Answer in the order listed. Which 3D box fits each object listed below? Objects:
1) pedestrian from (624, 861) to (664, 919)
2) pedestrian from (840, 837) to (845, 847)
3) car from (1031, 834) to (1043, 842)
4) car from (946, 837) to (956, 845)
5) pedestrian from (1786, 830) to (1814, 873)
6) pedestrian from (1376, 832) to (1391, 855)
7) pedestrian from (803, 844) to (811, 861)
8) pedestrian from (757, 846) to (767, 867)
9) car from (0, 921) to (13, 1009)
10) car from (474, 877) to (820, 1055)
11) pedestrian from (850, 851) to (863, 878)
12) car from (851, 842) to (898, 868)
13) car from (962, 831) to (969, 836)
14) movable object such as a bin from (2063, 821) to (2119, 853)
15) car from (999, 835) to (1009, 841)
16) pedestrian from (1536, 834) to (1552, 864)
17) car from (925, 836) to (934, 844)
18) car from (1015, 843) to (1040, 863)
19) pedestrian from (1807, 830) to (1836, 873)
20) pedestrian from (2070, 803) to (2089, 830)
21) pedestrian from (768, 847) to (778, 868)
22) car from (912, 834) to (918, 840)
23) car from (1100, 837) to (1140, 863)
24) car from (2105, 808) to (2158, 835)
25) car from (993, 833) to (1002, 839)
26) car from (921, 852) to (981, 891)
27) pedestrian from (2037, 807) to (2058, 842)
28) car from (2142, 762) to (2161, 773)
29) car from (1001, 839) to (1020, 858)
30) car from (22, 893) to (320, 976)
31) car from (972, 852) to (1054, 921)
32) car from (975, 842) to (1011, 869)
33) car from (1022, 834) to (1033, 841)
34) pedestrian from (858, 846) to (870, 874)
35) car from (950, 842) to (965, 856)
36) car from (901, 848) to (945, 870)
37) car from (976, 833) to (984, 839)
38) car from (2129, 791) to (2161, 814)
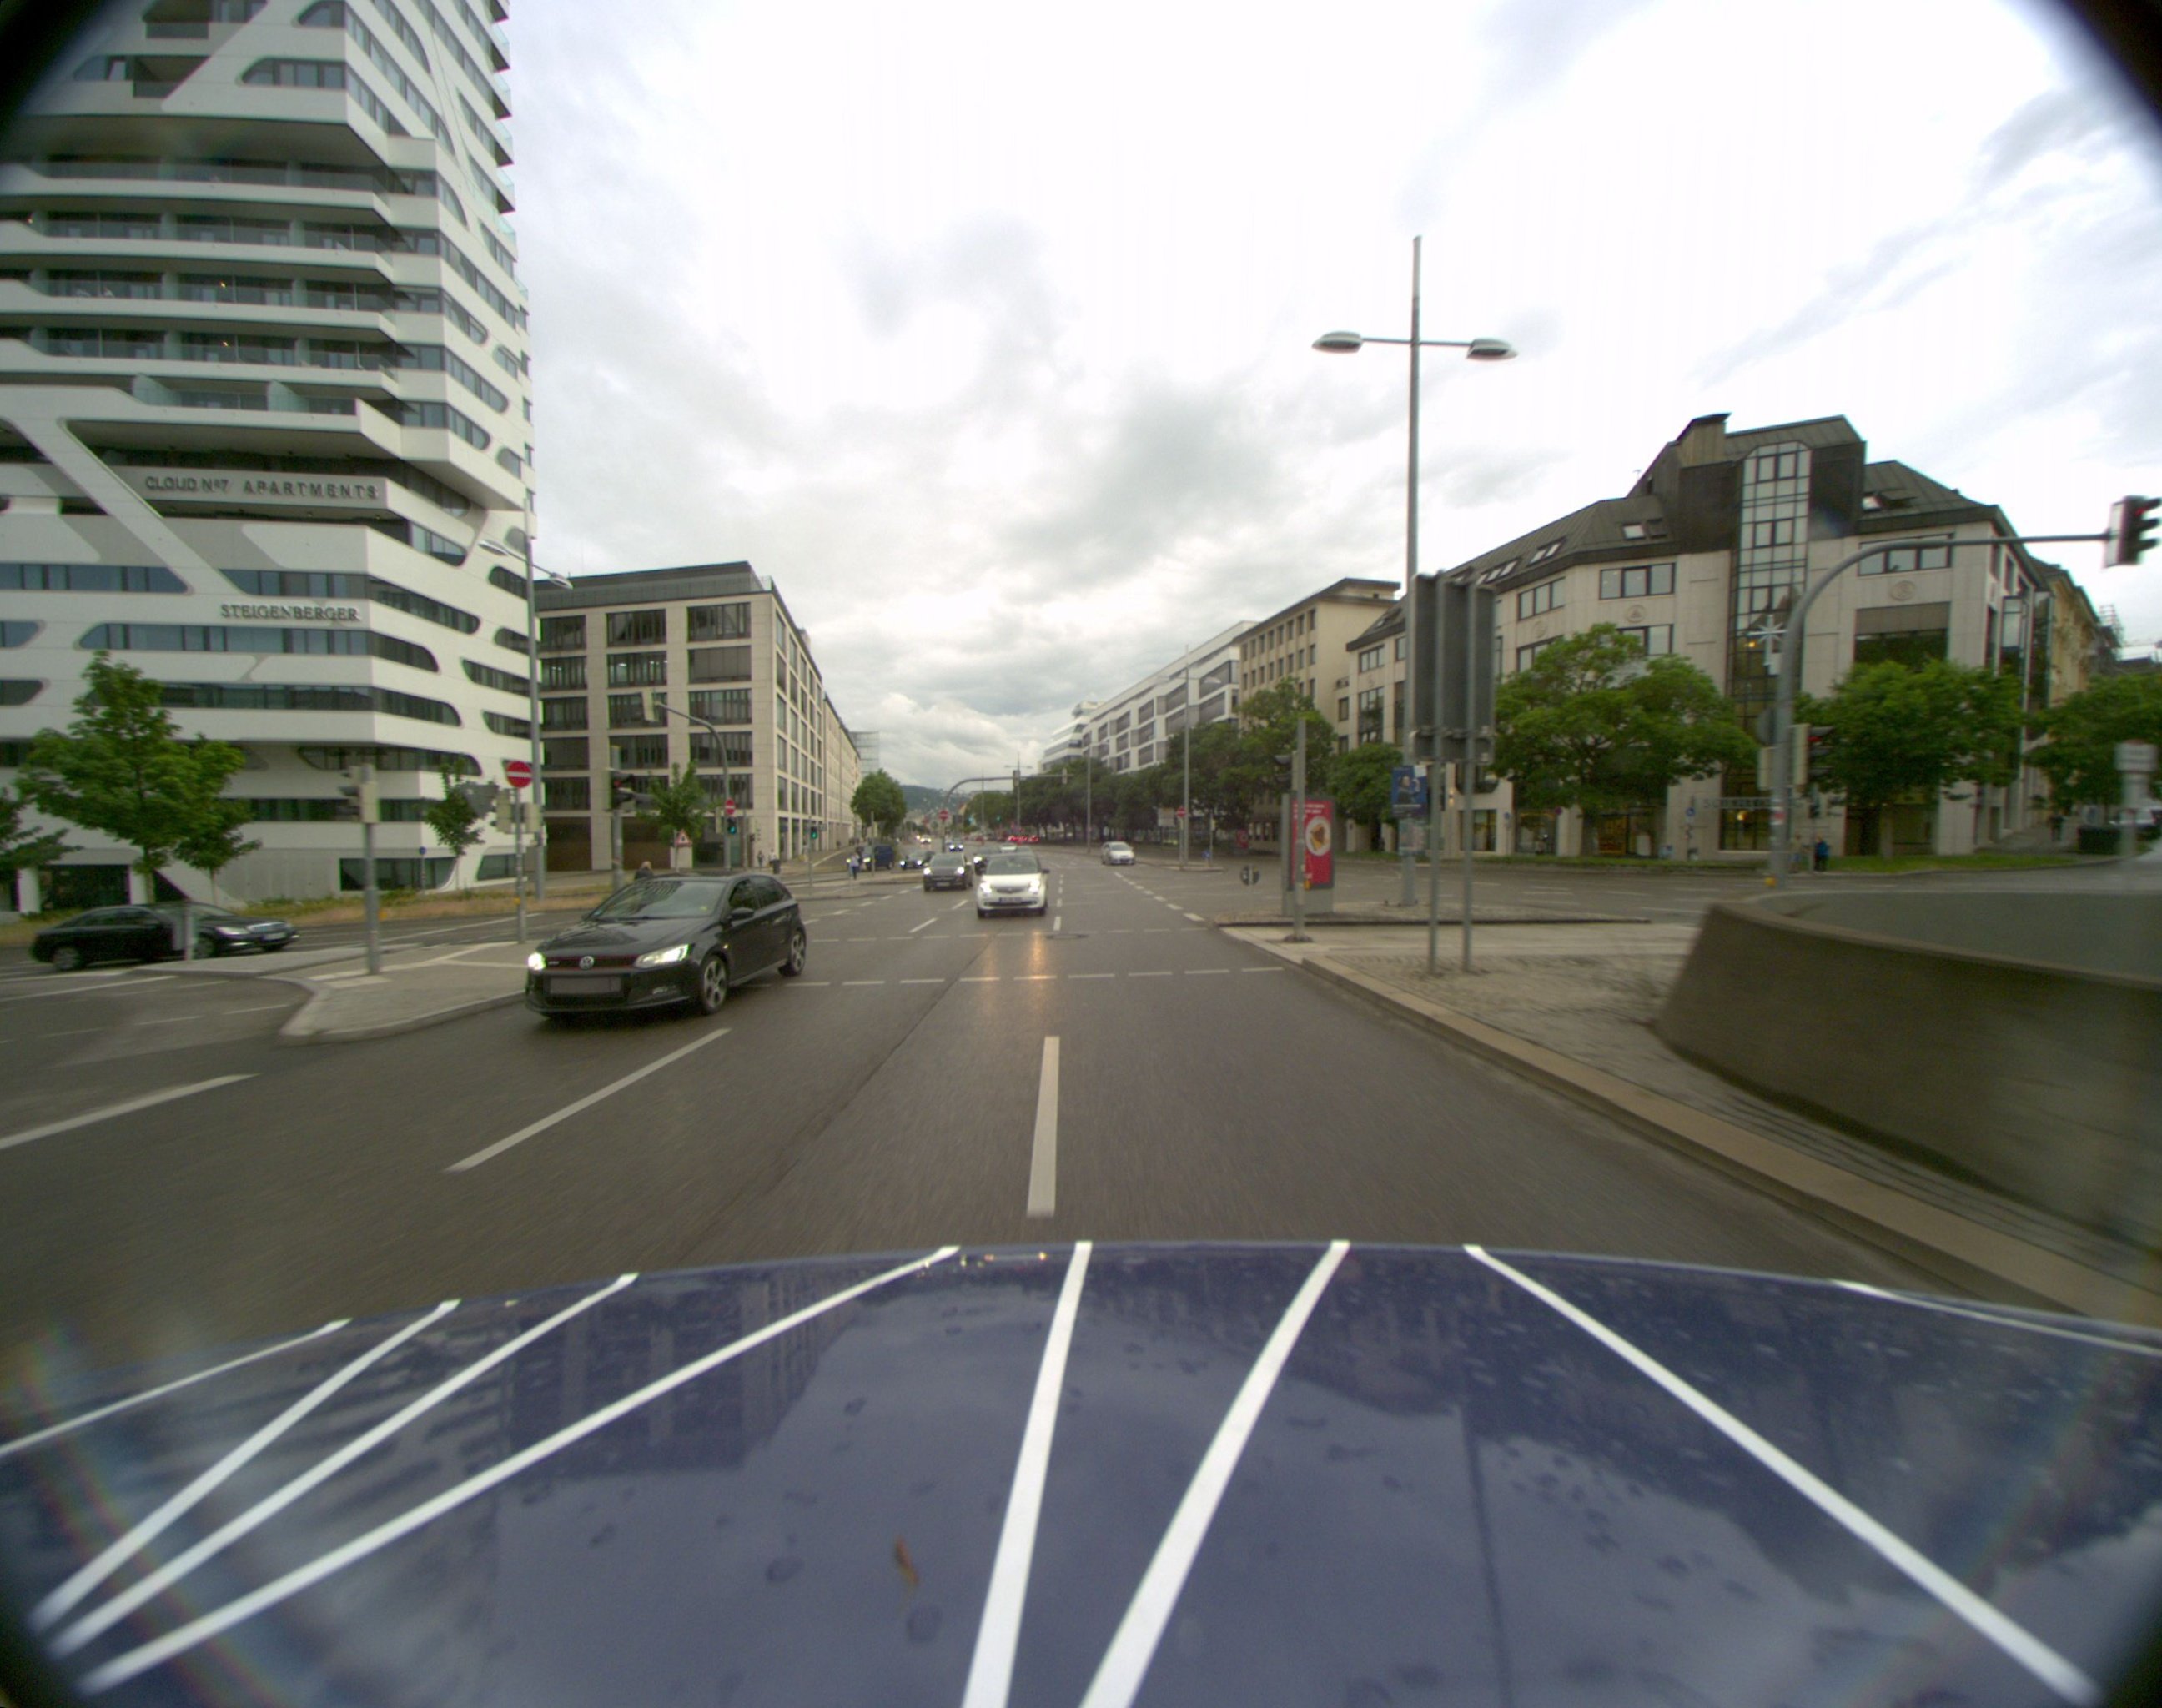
[{"bbox_3d":[-12.817,1.046,22.308,0.707,1.615,0.644,-2,2,1],"label":"pedestrian"},{"bbox_3d":[-34.482,-1.694,110.069,0.588,1.469,0.603,-2,2,-14],"label":"pedestrian"},{"bbox_3d":[-9.593,-3.449,164.988,1.801,1.502,3.995,-2,1,-13],"label":"car"},{"bbox_3d":[-26.509,-2.705,155.174,1.801,1.502,3.995,-2,1,-13],"label":"car"},{"bbox_3d":[30.861,-0.102,32.621,0.590,1.799,0.674,-2,2,5],"label":"pedestrian"},{"bbox_3d":[23.769,-0.831,59.747,0.835,1.774,0.615,-2,2,-8],"label":"pedestrian"},{"bbox_3d":[-24.016,-0.110,66.493,0.588,1.469,0.603,-2,2,-22],"label":"pedestrian"},{"bbox_3d":[-24.450,0.178,58.223,0.588,1.600,0.603,-2,2,-15],"label":"pedestrian"},{"bbox_3d":[-19.479,1.932,11.749,4.477,1.383,1.858,-3,3,15],"label":"car"},{"bbox_3d":[-4.513,1.057,8.674,1.678,1.391,3.848,-1,1,0],"label":"car"},{"bbox_3d":[-12.510,0.605,42.355,0.588,1.469,0.603,-2,2,-22],"label":"pedestrian"},{"bbox_3d":[-15.590,0.033,57.662,1.797,1.851,4.294,-2,1,9],"label":"car"},{"bbox_3d":[-35.838,-6.293,234.892,1.801,1.502,3.995,-2,1,-13],"label":"car"},{"bbox_3d":[50.257,-0.840,37.837,1.352,1.499,1.071,-1,1,28],"label":"movable object such as a bin"},{"bbox_3d":[-19.157,-3.980,188.940,1.801,1.502,3.995,-2,1,-13],"label":"car"},{"bbox_3d":[28.045,-0.325,46.044,0.604,1.774,0.525,-2,2,-8],"label":"pedestrian"},{"bbox_3d":[-32.942,-3.050,165.029,1.801,1.502,3.995,-2,1,-13],"label":"car"},{"bbox_3d":[-4.573,-0.122,65.572,1.799,1.657,3.999,-2,1,1],"label":"car"},{"bbox_3d":[31.543,-0.122,32.370,0.590,1.799,0.674,-2,2,5],"label":"pedestrian"},{"bbox_3d":[63.619,-2.376,48.422,0.651,1.652,0.648,-3,2,-28],"label":"pedestrian"},{"bbox_3d":[-23.464,0.252,57.880,0.588,1.600,0.603,-2,2,-15],"label":"pedestrian"},{"bbox_3d":[-49.084,-5.045,224.686,1.801,1.502,3.995,-2,1,-13],"label":"car"},{"bbox_3d":[2.768,-0.289,54.656,1.801,1.733,3.995,-2,1,-13],"label":"car"},{"bbox_3d":[61.720,-1.915,44.622,3.497,1.454,1.606,-3,2,-32],"label":"car"},{"bbox_3d":[-22.827,-4.999,207.982,1.801,1.502,3.995,-2,1,-13],"label":"car"},{"bbox_3d":[-5.262,0.675,31.258,1.751,1.433,3.706,-2,1,1],"label":"car"},{"bbox_3d":[56.550,-1.735,44.450,0.749,2.002,0.754,-2,1,-36],"label":"pedestrian"},{"bbox_3d":[173.186,-13.992,122.588,4.005,1.502,1.796,-3,1,-29],"label":"car"},{"bbox_3d":[-7.770,-0.650,83.867,1.799,2.021,3.999,-2,1,-1],"label":"car"},{"bbox_3d":[-21.349,1.849,18.000,4.483,1.383,1.855,-4,3,-3],"label":"car"},{"bbox_3d":[-1.681,0.761,19.974,1.799,1.528,3.999,-2,1,-1],"label":"car"},{"bbox_3d":[-5.770,0.065,50.310,1.799,1.657,3.999,-2,1,1],"label":"car"},{"bbox_3d":[-12.441,-3.785,176.524,1.801,1.502,3.995,-2,1,-13],"label":"car"},{"bbox_3d":[-13.879,0.392,48.557,0.604,1.792,0.587,-2,2,-9],"label":"pedestrian"},{"bbox_3d":[-18.255,-0.716,112.297,1.801,1.934,3.995,-2,1,-13],"label":"car"},{"bbox_3d":[-11.904,0.334,57.353,1.797,1.502,4.002,-2,1,11],"label":"car"},{"bbox_3d":[-28.859,-5.217,216.641,1.801,1.502,3.995,-2,1,-13],"label":"car"},{"bbox_3d":[75.193,-3.617,53.382,4.007,1.502,1.795,-3,1,-36],"label":"car"}]
